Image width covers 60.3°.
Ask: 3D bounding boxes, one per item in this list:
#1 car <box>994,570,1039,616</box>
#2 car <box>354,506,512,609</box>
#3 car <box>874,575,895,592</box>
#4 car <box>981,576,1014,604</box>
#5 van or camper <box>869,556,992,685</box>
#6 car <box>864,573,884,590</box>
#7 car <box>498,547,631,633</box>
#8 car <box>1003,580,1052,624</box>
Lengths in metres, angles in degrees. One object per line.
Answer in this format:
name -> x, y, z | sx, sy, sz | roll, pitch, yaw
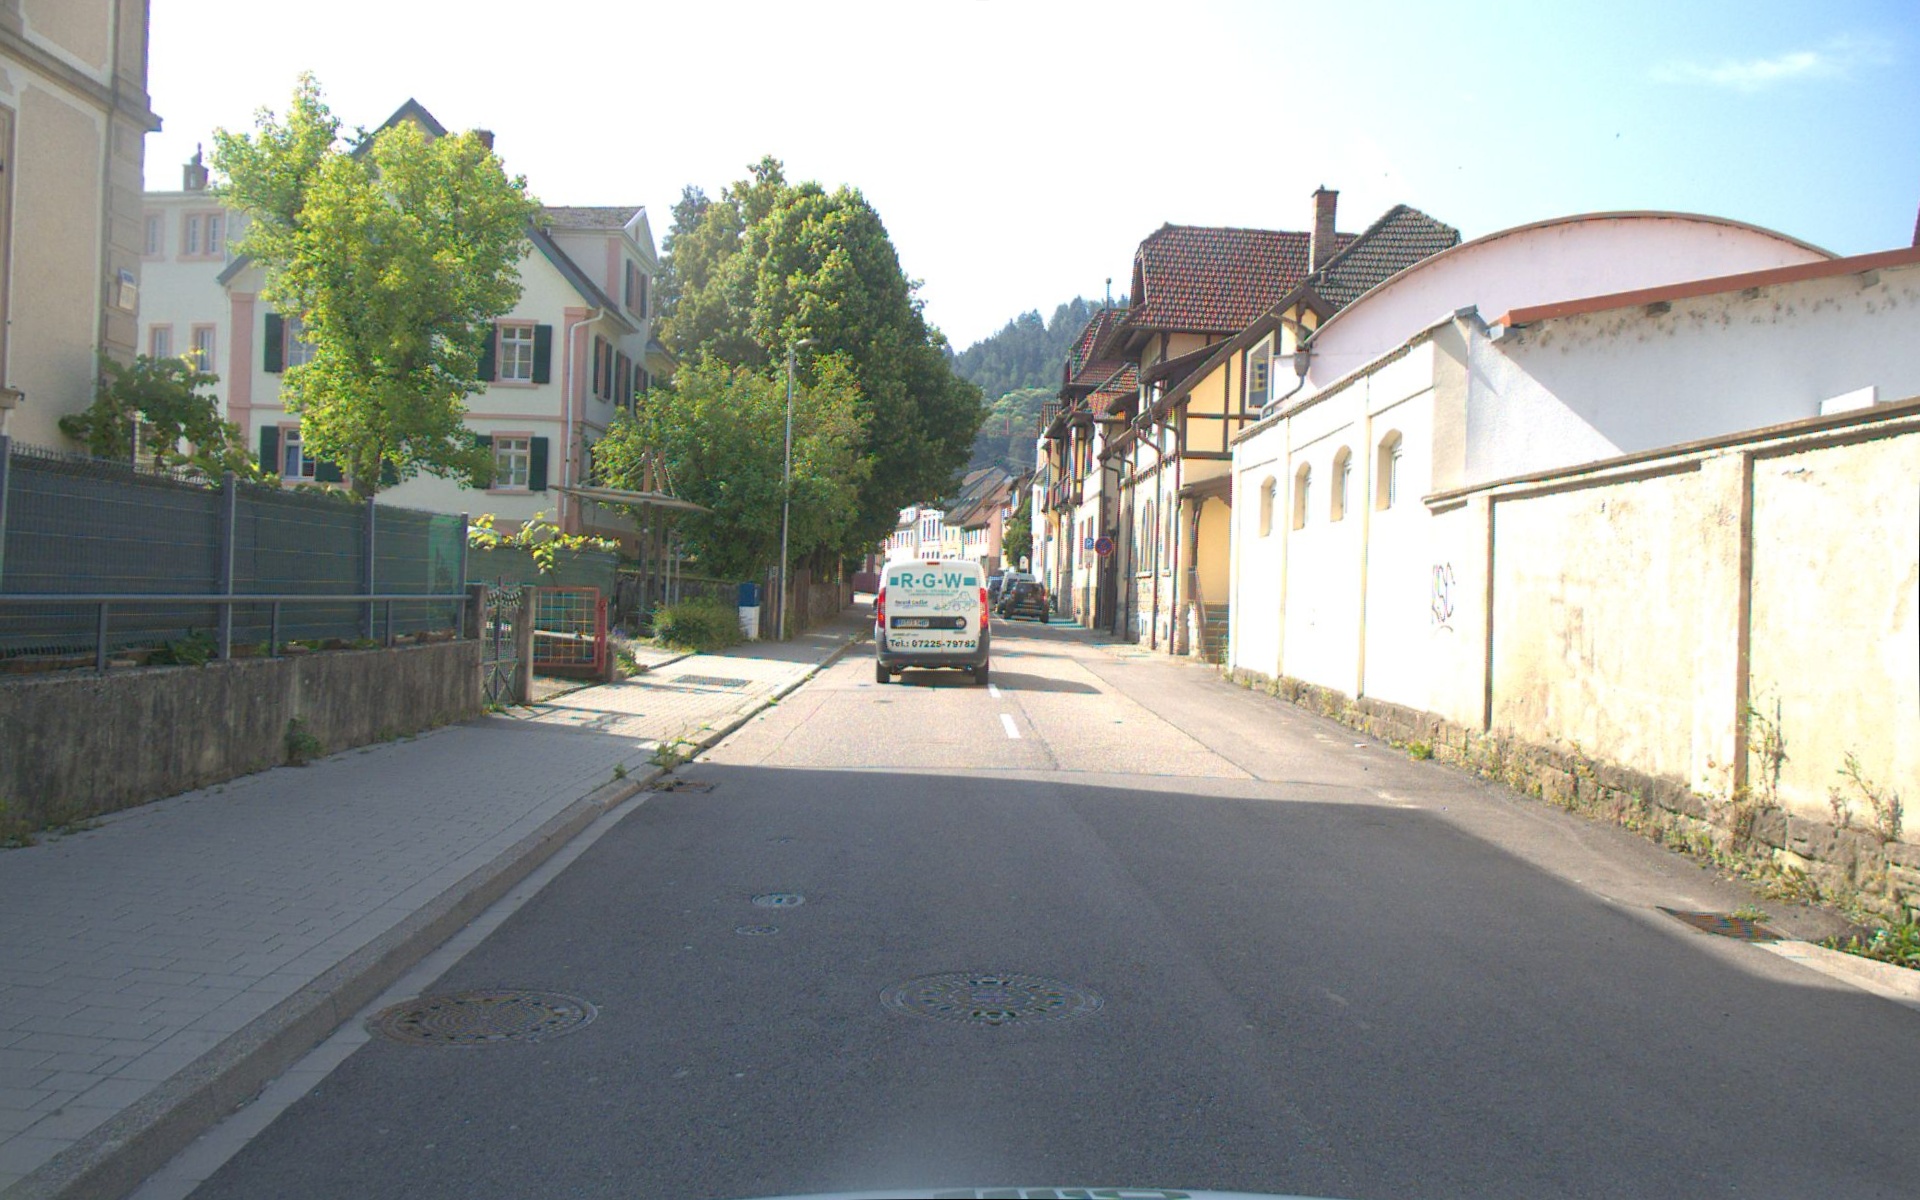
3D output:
car -> 2.682, -0.338, 79.529 | 1.833, 2.048, 3.999 | 3, 0, -1
car -> -10.791, -0.840, 34.228 | 1.787, 1.802, 4.680 | 6, 0, -2
car -> -8.611, -1.924, 188.190 | 1.740, 1.830, 3.988 | 2, 0, -12
car -> 2.145, -0.576, 95.937 | 1.636, 1.534, 3.998 | 1, 0, -3
van or camper -> -0.494, 0.286, 26.469 | 1.791, 1.876, 4.187 | 1, 0, -2
car -> -10.118, -2.178, 194.675 | 1.740, 1.830, 3.988 | 2, 0, -12
car -> -7.895, -0.231, 33.384 | 1.583, 1.487, 4.394 | 4, 1, -1
car -> 2.815, 0.068, 69.340 | 1.774, 1.624, 3.926 | 4, 1, 0
